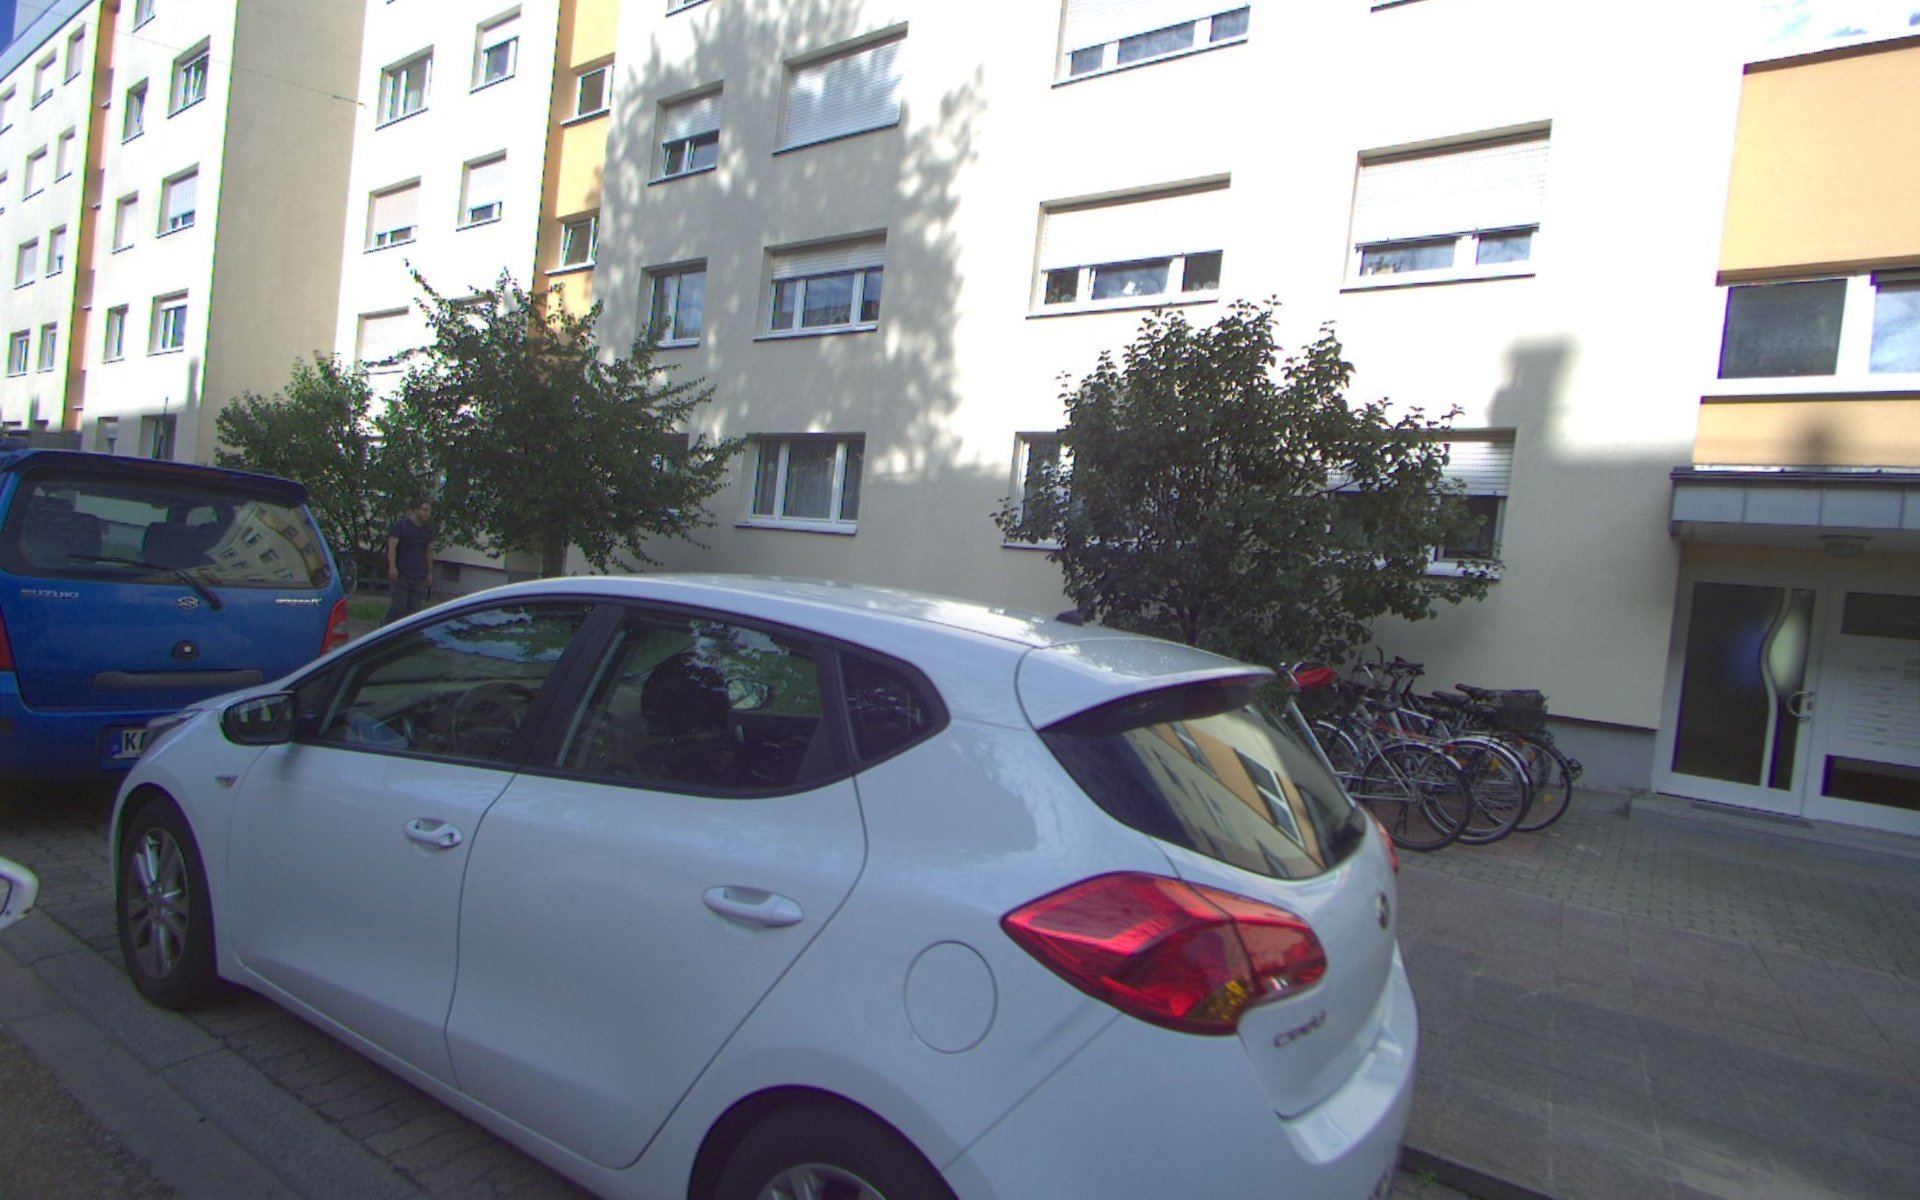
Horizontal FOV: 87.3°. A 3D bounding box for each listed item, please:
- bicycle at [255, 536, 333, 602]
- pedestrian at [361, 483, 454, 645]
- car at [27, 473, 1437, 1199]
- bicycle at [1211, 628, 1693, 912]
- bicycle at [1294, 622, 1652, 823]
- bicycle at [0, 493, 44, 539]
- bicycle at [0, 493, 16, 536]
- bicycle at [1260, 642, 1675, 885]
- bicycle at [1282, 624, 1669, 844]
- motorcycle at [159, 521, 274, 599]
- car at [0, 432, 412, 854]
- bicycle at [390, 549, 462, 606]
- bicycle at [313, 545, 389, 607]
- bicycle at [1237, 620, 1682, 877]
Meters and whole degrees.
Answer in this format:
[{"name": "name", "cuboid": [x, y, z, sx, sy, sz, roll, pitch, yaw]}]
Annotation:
[{"name": "bicycle", "cuboid": [-11.308, -0.532, 17.068, 1.491, 0.954, 0.459, 7, 2, 31]}, {"name": "pedestrian", "cuboid": [-6.289, -0.413, 11.447, 0.759, 1.743, 0.541, 7, 2, 37]}, {"name": "car", "cuboid": [-0.930, 0.544, 3.072, 4.048, 1.480, 1.730, 6, 1, 31]}, {"name": "bicycle", "cuboid": [3.051, 0.981, 6.521, 2.592, 1.307, 0.604, 6, 1, 32]}, {"name": "bicycle", "cuboid": [4.411, 1.001, 8.833, 2.592, 1.307, 0.727, 6, 0, 32]}, {"name": "bicycle", "cuboid": [-26.552, -2.386, 28.331, 2.173, 1.129, 0.529, 7, 2, 32]}, {"name": "bicycle", "cuboid": [-26.883, -2.423, 27.806, 2.173, 1.129, 0.597, 7, 2, 32]}, {"name": "bicycle", "cuboid": [3.699, 1.123, 7.577, 2.592, 1.309, 0.595, 6, 3, 32]}, {"name": "bicycle", "cuboid": [4.092, 0.993, 8.192, 2.592, 1.307, 0.727, 6, 1, 32]}, {"name": "motorcycle", "cuboid": [-12.301, -0.680, 16.615, 2.354, 1.058, 0.631, 7, 2, 31]}, {"name": "car", "cuboid": [-5.082, 0.029, 5.662, 4.050, 1.671, 1.729, 6, 1, 33]}, {"name": "bicycle", "cuboid": [-10.188, -0.439, 19.195, 1.491, 0.939, 0.459, 7, 2, 31]}, {"name": "bicycle", "cuboid": [-10.843, -0.431, 17.901, 1.491, 0.939, 0.459, 7, 2, 31]}, {"name": "bicycle", "cuboid": [3.378, 0.934, 7.066, 2.592, 1.308, 0.604, 6, 2, 32]}]
